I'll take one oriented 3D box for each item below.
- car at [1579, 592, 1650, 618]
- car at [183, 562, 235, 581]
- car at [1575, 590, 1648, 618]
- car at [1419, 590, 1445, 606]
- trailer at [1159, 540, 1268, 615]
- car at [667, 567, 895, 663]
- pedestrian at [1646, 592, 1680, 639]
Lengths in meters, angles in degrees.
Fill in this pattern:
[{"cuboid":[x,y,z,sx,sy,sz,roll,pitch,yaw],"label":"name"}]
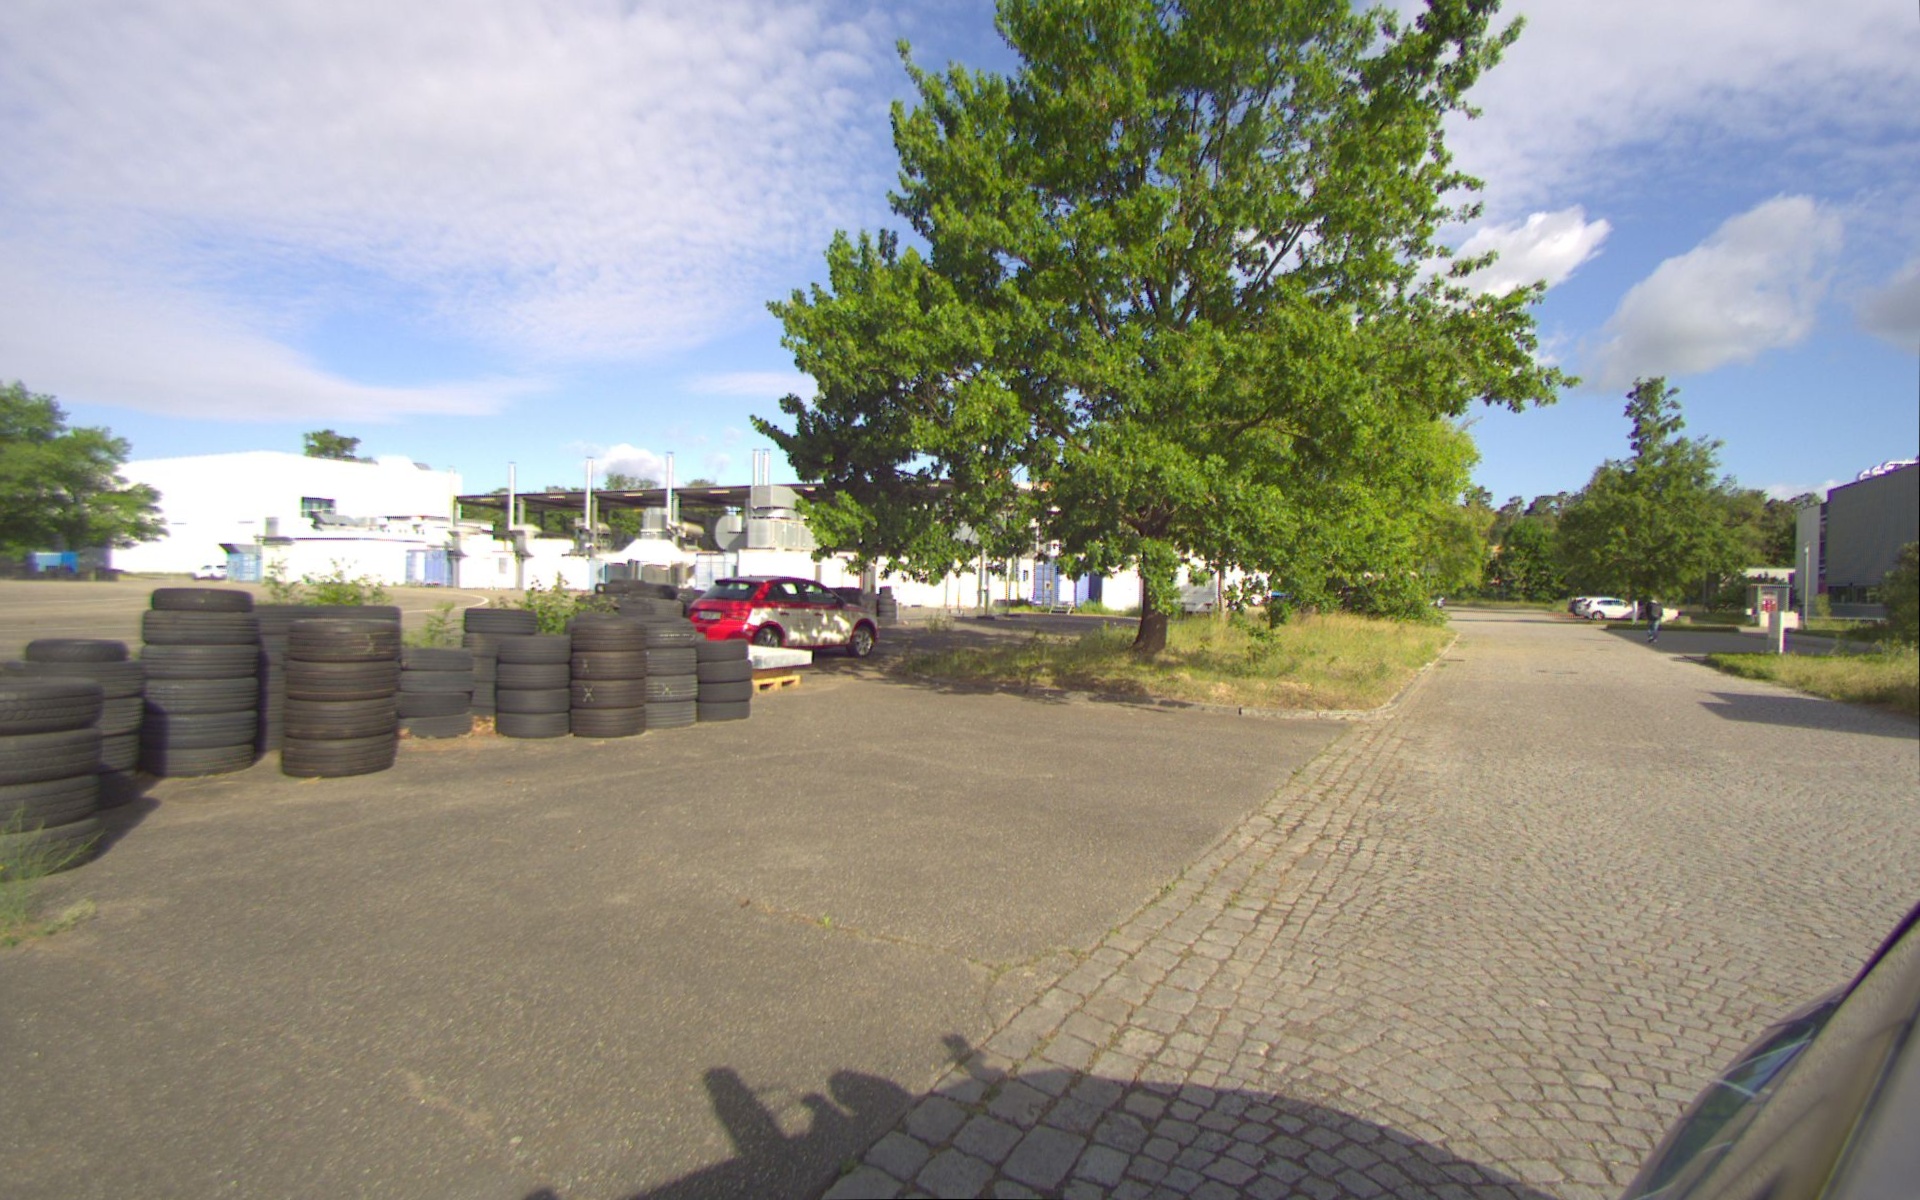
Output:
[{"cuboid":[44.560,0.326,68.962,3.973,1.663,1.976,2,1,34],"label":"car"},{"cuboid":[-66.371,-2.531,89.398,4.503,1.584,1.858,2,1,27],"label":"car"},{"cuboid":[42.942,0.243,66.774,3.973,1.663,1.976,2,1,34],"label":"car"},{"cuboid":[43.701,-0.169,93.743,1.977,1.388,3.971,1,1,22],"label":"car"},{"cuboid":[13.223,-1.107,52.043,2.902,3.514,9.797,2,1,30],"label":"trailer"},{"cuboid":[-3.054,0.221,18.009,1.717,1.482,3.950,2,1,34],"label":"car"},{"cuboid":[24.674,0.532,35.511,0.863,1.578,1.013,2,1,39],"label":"pedestrian"}]
